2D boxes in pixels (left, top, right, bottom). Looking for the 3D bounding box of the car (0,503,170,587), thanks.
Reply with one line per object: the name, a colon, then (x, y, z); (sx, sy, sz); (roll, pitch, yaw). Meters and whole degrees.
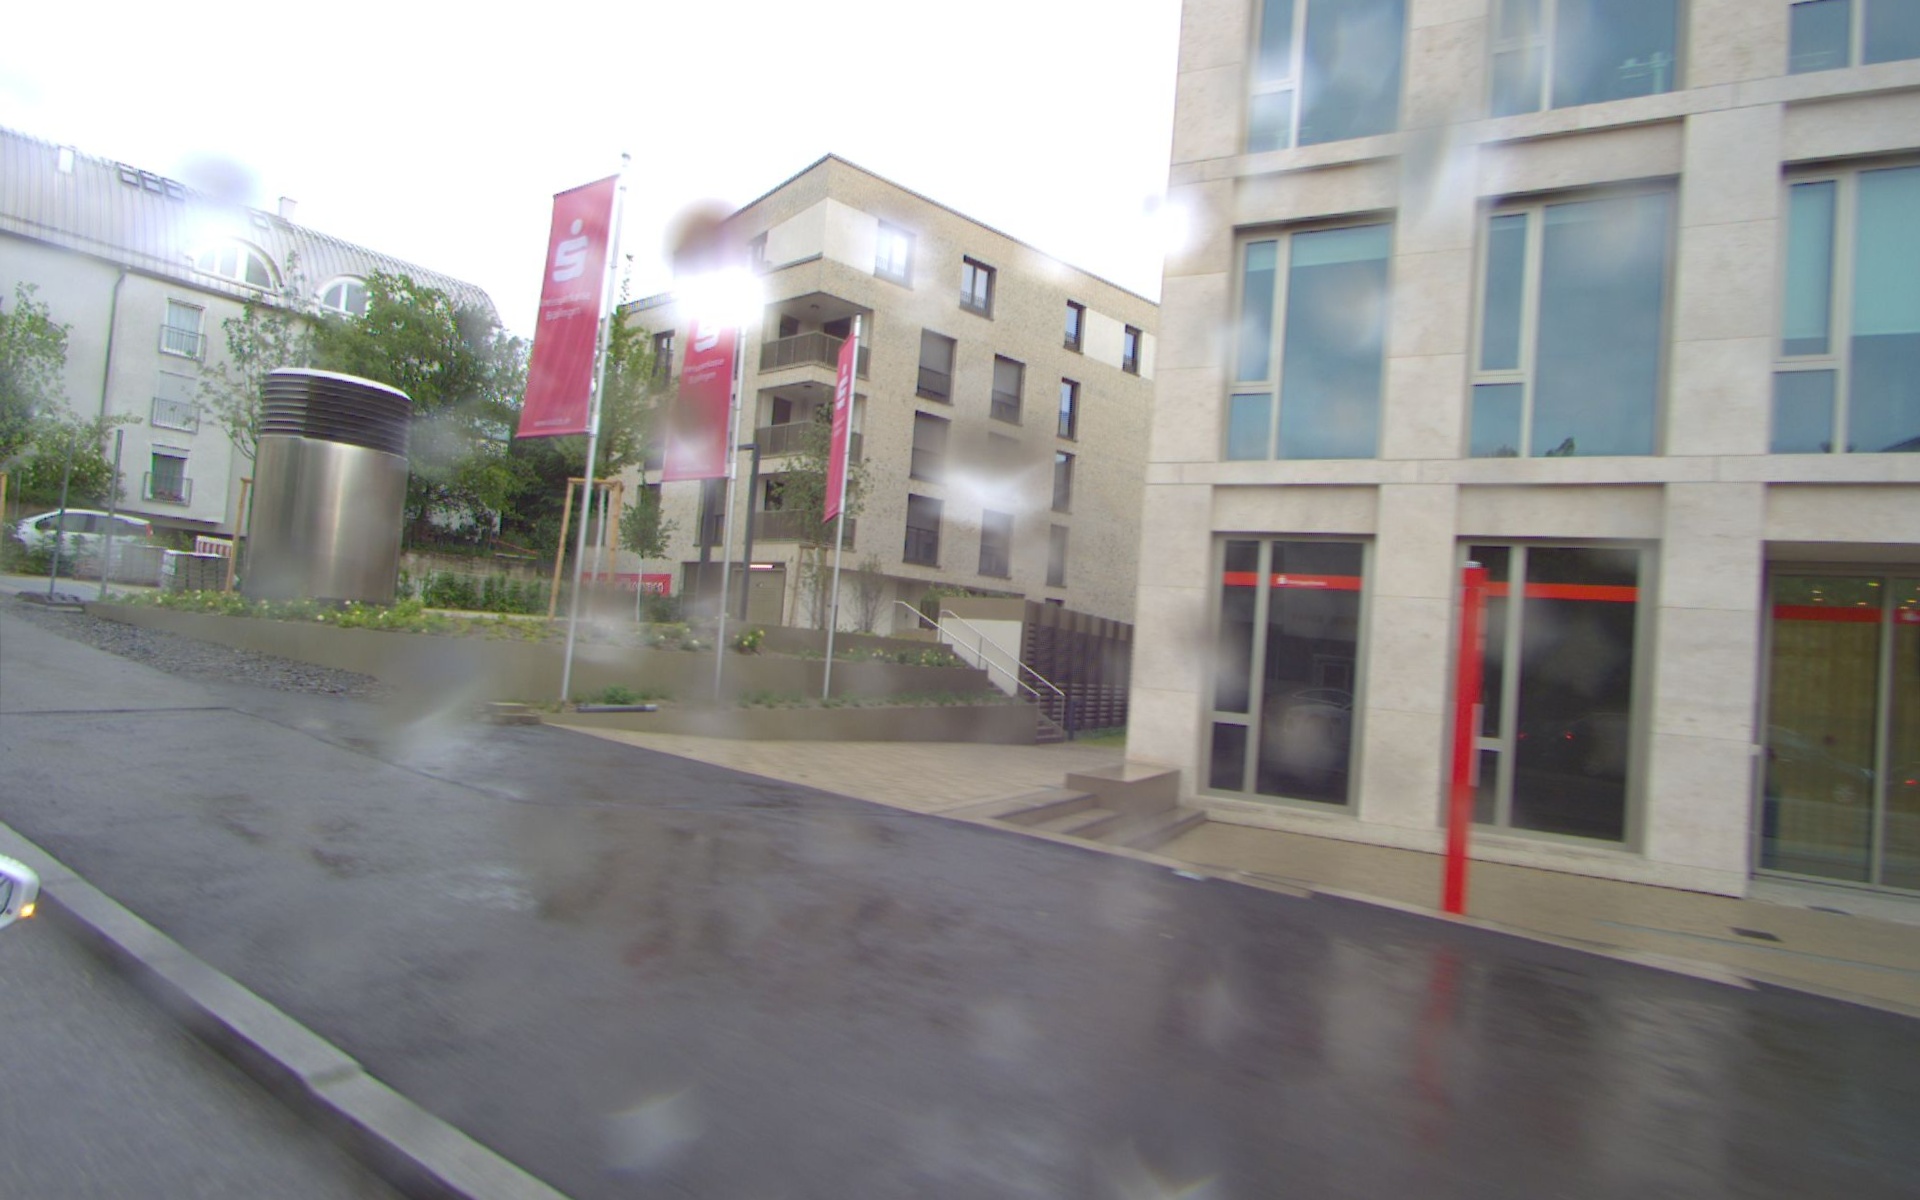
car: (-21.792, -1.362, 24.472); (1.751, 1.520, 3.667); (6, -3, 39)
